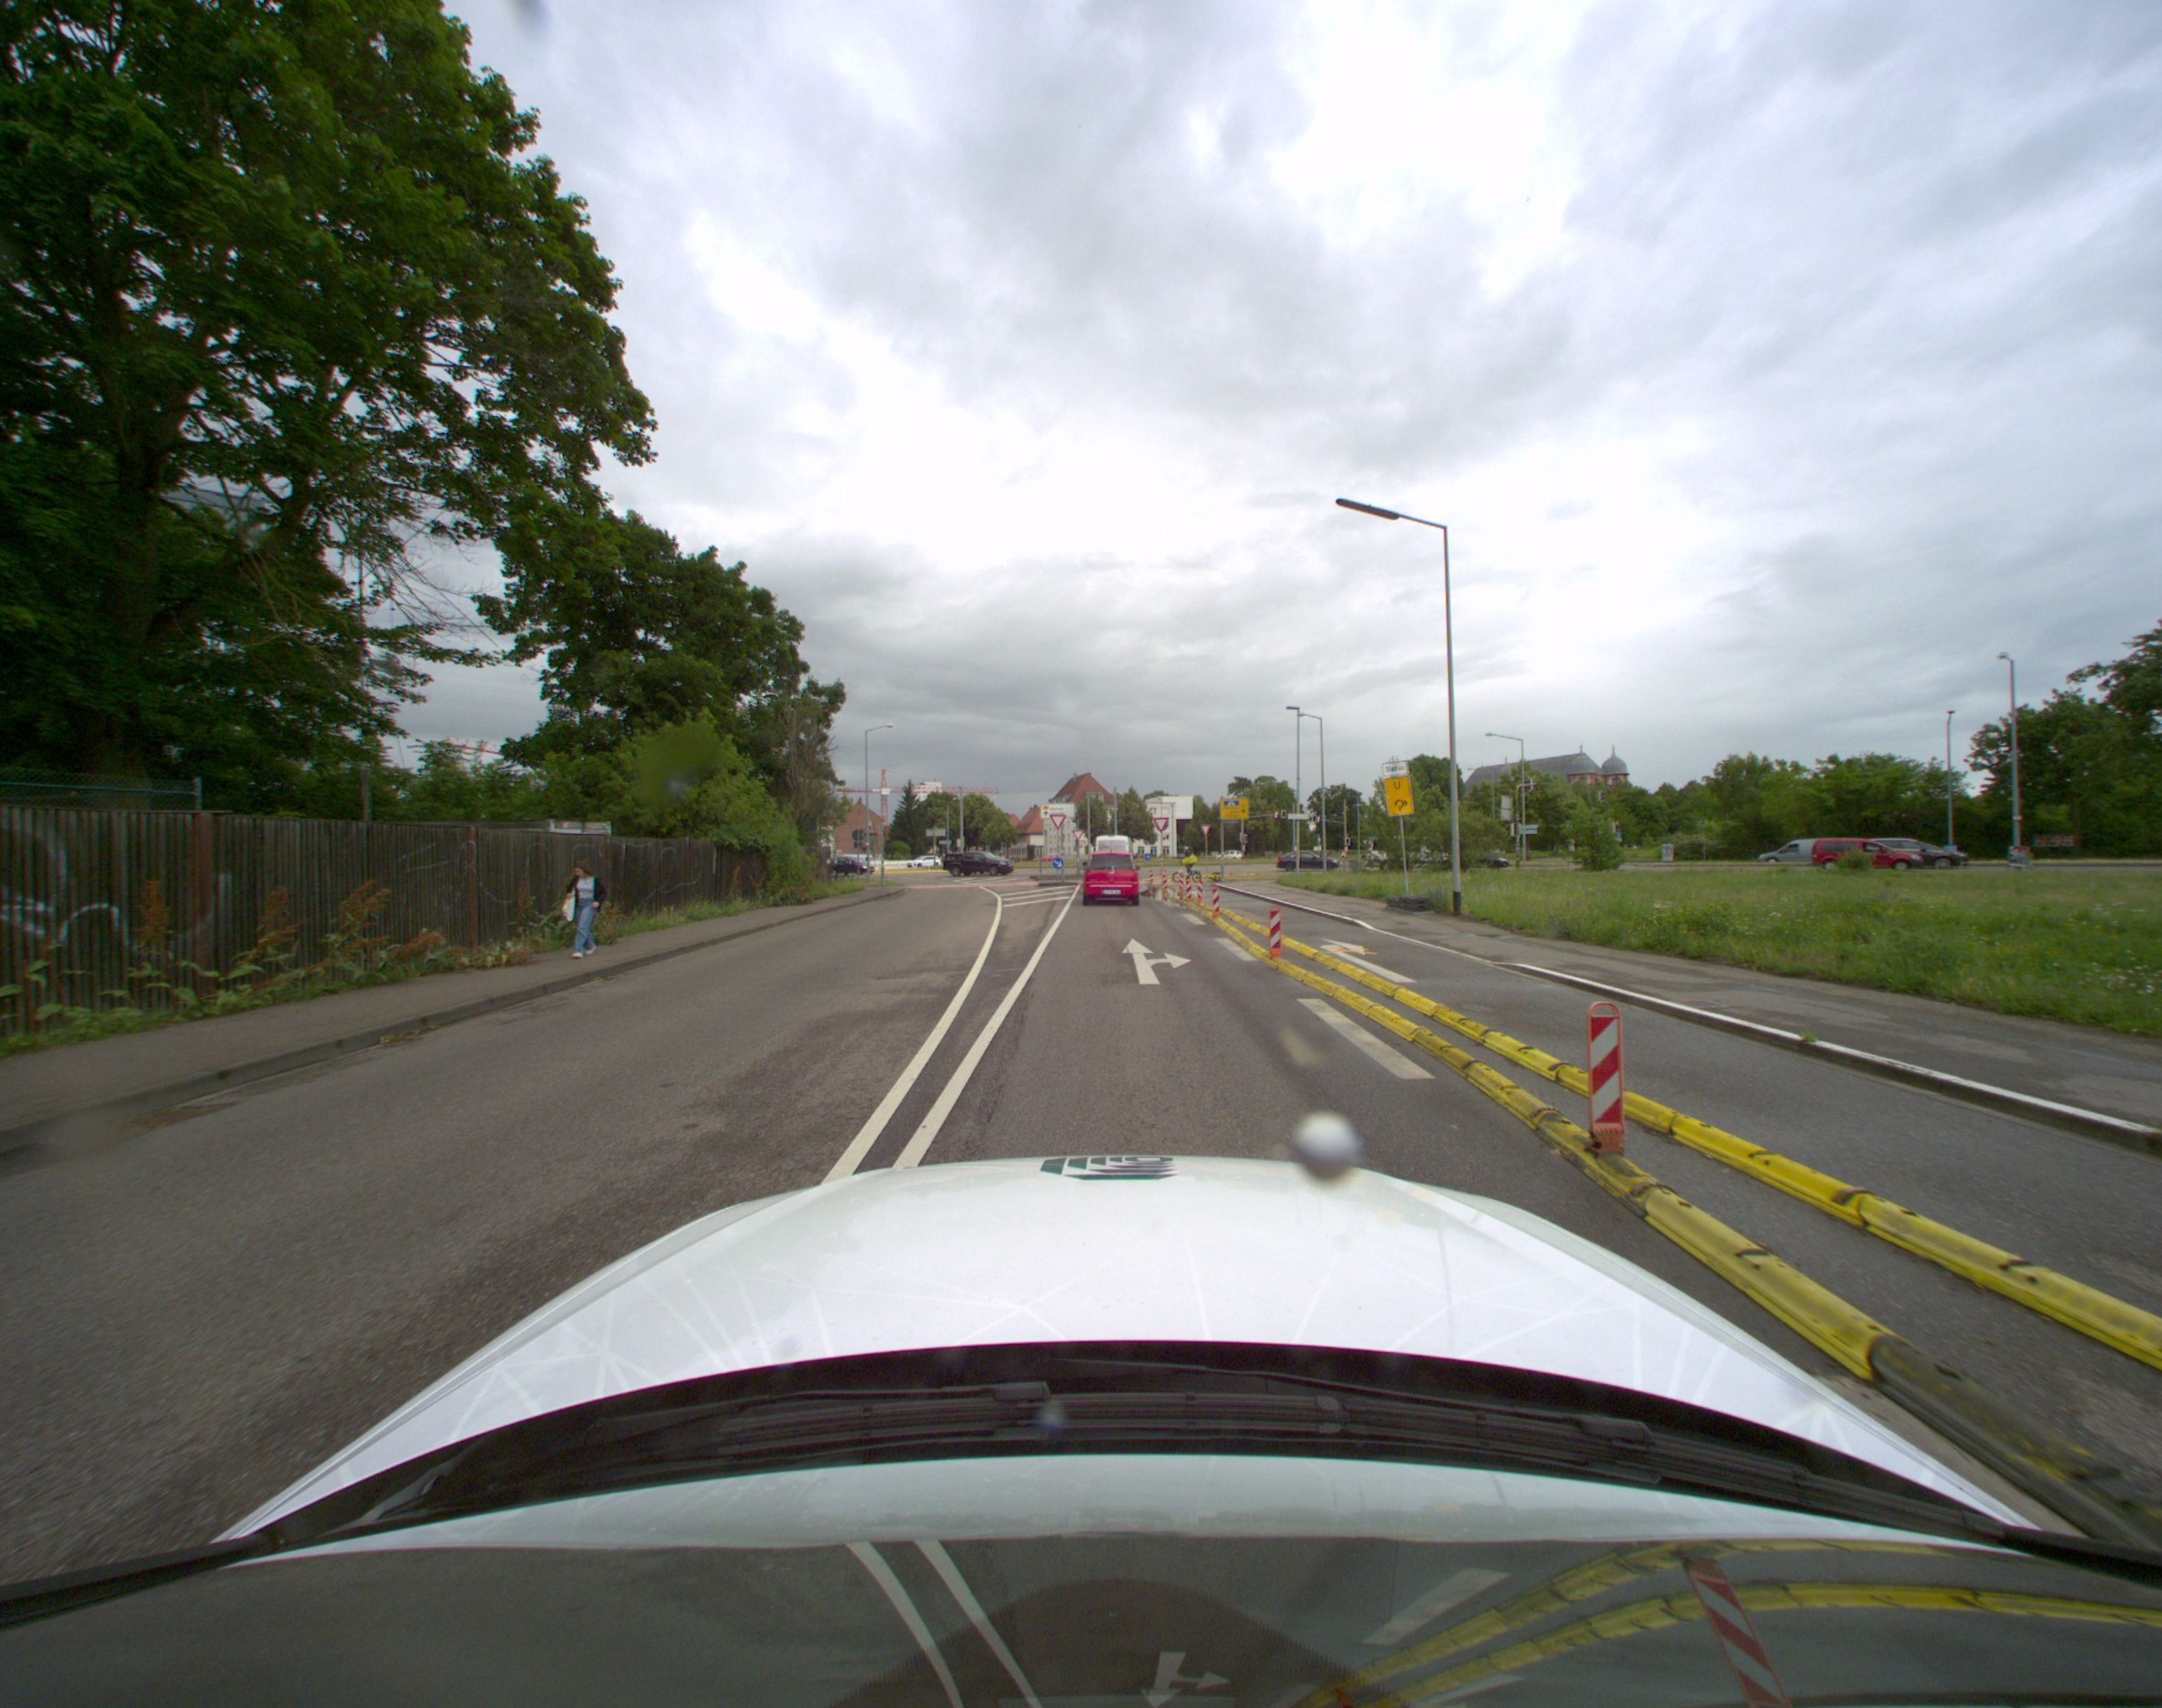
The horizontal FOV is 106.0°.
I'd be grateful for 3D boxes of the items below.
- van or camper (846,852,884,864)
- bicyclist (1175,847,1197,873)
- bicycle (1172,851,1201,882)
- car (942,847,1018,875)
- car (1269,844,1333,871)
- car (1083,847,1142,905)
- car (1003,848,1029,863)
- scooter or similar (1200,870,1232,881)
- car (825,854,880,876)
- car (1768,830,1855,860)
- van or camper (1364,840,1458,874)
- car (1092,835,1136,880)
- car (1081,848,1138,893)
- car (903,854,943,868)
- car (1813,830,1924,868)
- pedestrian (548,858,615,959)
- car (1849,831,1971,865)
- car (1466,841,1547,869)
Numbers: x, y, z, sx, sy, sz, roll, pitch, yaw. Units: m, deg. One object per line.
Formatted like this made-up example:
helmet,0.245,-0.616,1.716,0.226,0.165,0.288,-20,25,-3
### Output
van or camper,-37.644,0.670,141.993,6.136,2.013,2.007,-1,0,12
bicyclist,5.602,0.319,43.467,1.057,1.401,0.615,-1,0,3
bicycle,5.634,0.663,43.465,1.471,1.612,0.606,-1,0,3
car,-7.460,0.505,60.199,4.985,1.972,2.234,-1,0,18
car,15.704,0.252,58.365,4.332,1.750,2.006,-1,0,11
car,0.953,0.631,25.122,1.667,1.640,3.628,0,0,2
car,-10.568,0.244,133.241,3.976,1.849,1.998,-5,-3,-2
scooter or similar,7.205,1.145,43.481,1.600,0.504,0.926,-1,0,4
car,-20.325,0.947,72.547,4.166,1.813,2.085,-1,0,12
car,51.879,-0.610,57.886,2.011,2.013,4.423,-1,0,-43
van or camper,21.383,0.202,53.085,5.491,2.115,2.009,-1,0,16
car,2.020,0.167,48.579,2.183,2.540,4.973,0,0,7
car,1.100,0.592,31.699,2.052,1.648,4.609,0,0,2
car,-19.522,0.839,100.572,1.974,1.635,4.705,-1,0,38
car,41.980,-0.230,43.570,4.154,1.917,2.129,-1,0,42
pedestrian,-7.896,0.842,12.895,0.611,1.529,0.723,-1,0,-3
car,45.439,-0.307,44.811,4.550,1.795,2.128,-1,0,42
car,28.370,0.082,54.324,4.548,1.795,2.129,-1,0,33
